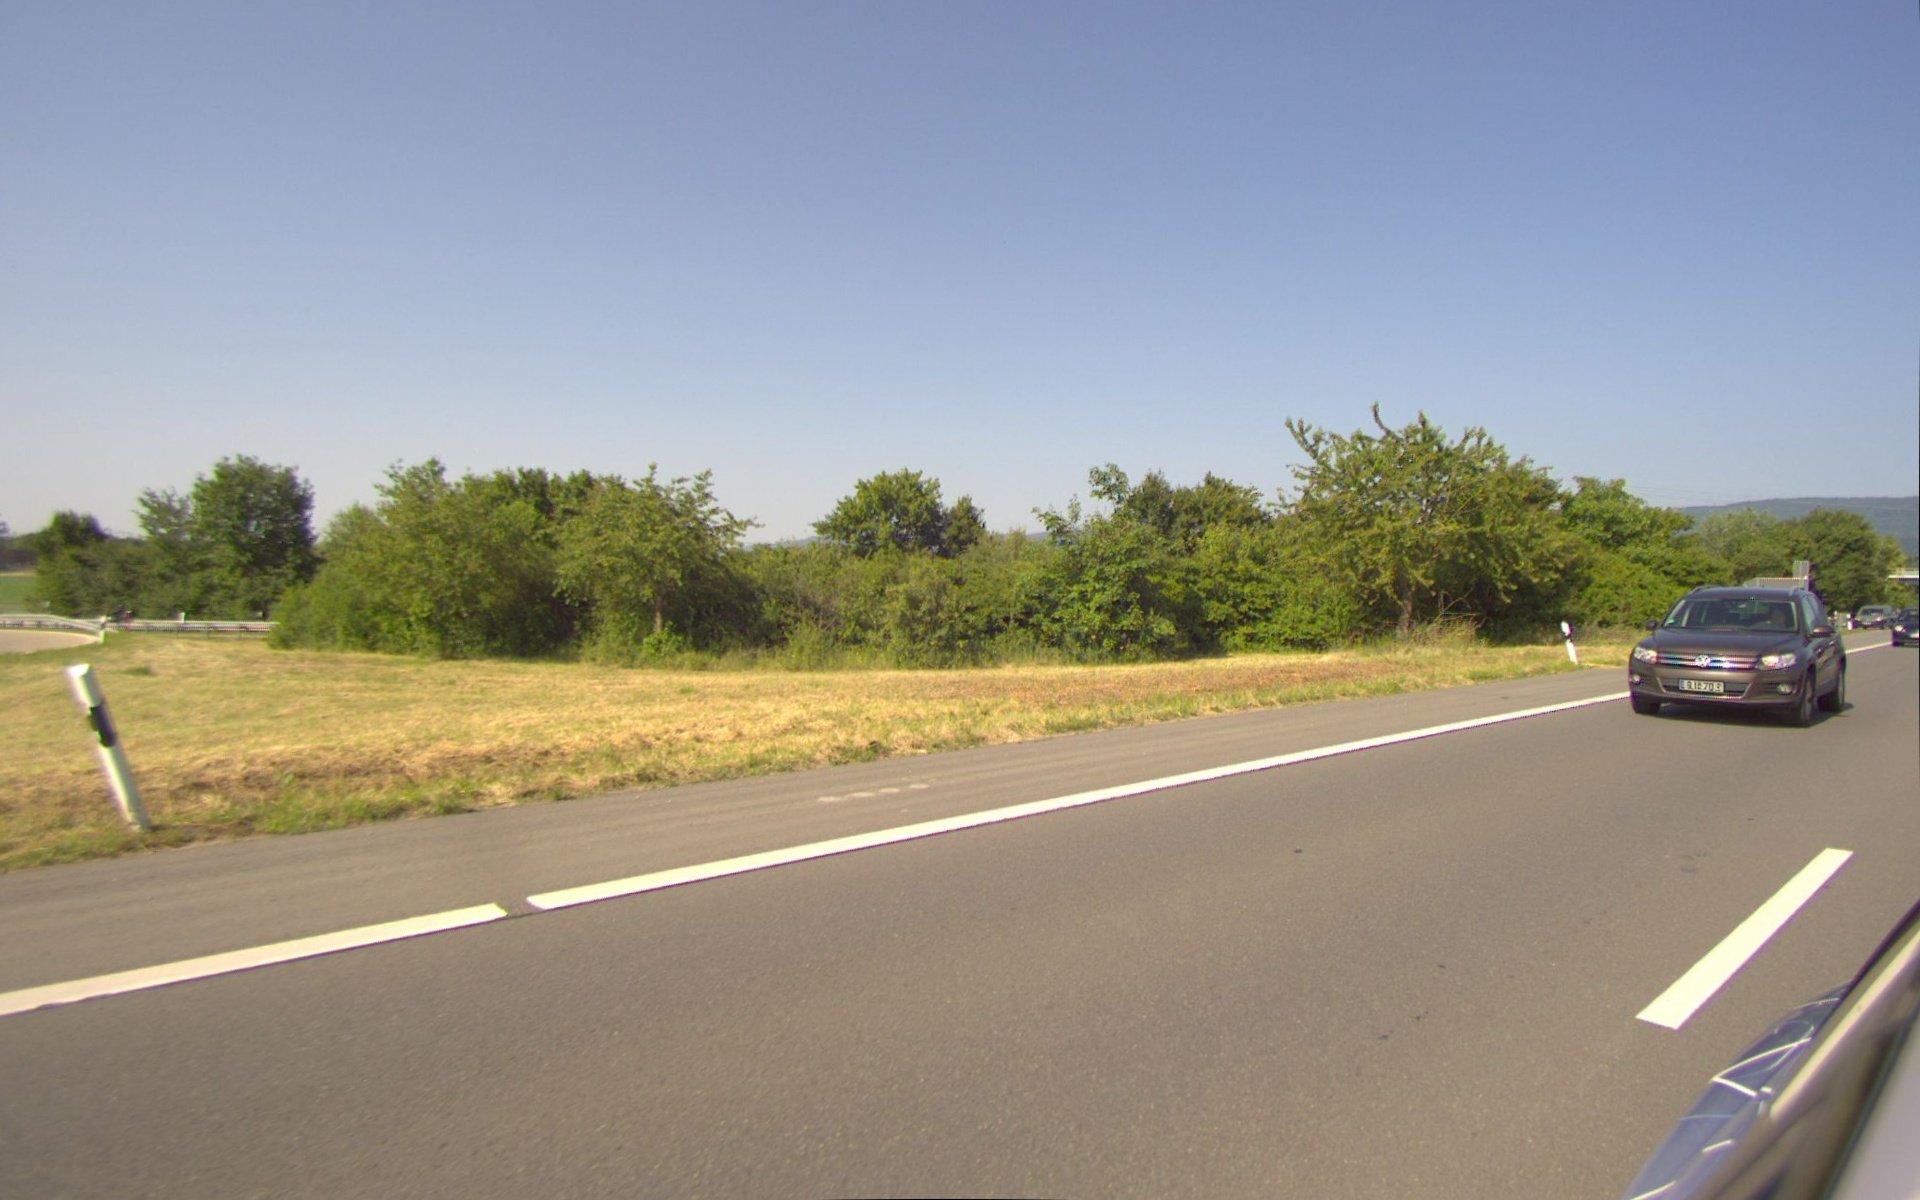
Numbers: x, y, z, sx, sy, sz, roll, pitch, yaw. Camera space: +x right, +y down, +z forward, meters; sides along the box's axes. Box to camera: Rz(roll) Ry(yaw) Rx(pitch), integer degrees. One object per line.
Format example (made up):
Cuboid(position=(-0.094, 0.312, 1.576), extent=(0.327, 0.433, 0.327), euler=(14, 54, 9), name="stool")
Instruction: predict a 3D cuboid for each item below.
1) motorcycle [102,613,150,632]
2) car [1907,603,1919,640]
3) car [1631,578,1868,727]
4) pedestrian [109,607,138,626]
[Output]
Cuboid(position=(-47.352, 1.255, 57.458), extent=(2.335, 1.057, 0.689), euler=(0, 0, 7), name="motorcycle")
Cuboid(position=(35.703, 0.779, 36.816), extent=(3.933, 1.264, 1.598), euler=(-1, 1, -43), name="car")
Cuboid(position=(10.492, 0.550, 13.343), extent=(4.077, 1.667, 1.788), euler=(-1, 1, -42), name="car")
Cuboid(position=(-47.469, 0.938, 57.437), extent=(1.117, 1.057, 0.689), euler=(0, 0, 8), name="pedestrian")
